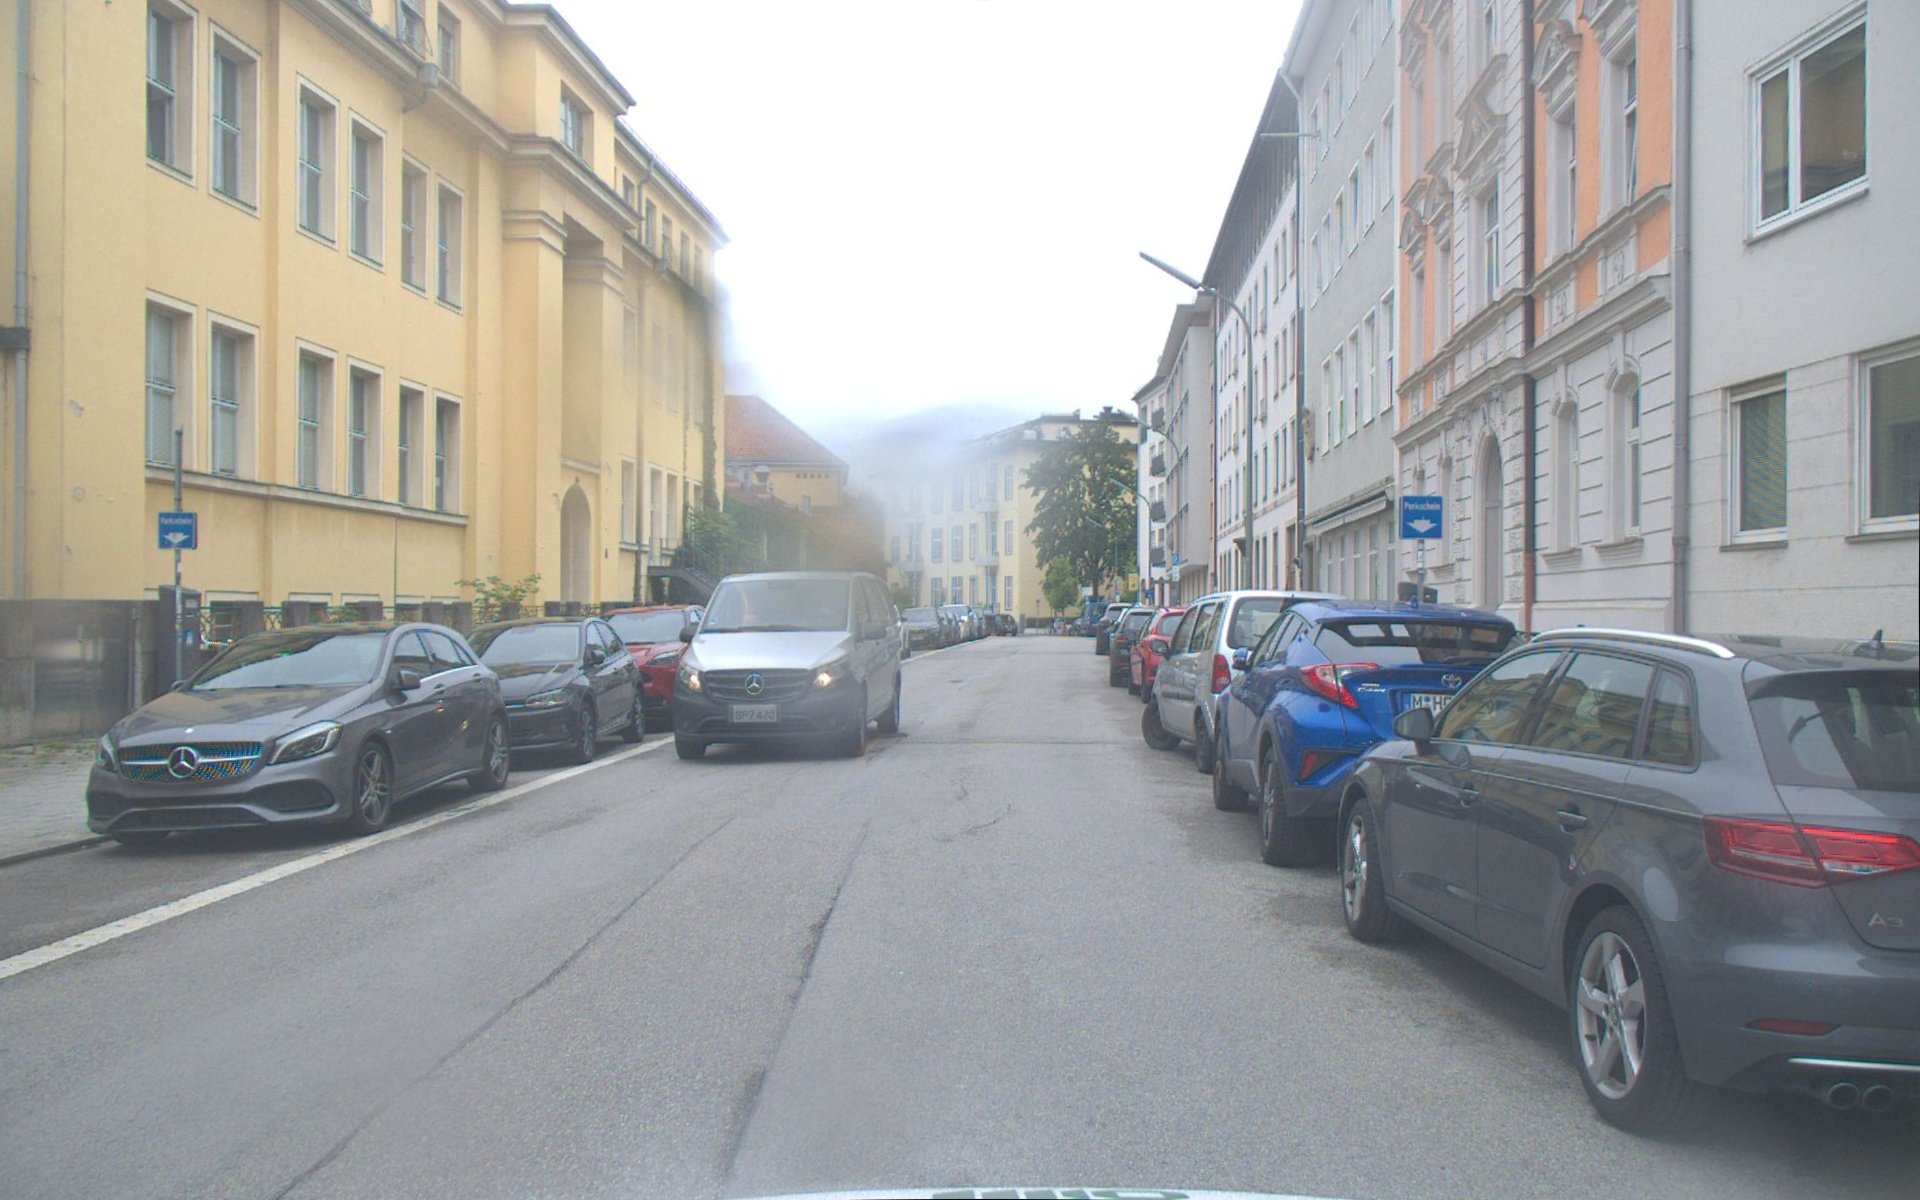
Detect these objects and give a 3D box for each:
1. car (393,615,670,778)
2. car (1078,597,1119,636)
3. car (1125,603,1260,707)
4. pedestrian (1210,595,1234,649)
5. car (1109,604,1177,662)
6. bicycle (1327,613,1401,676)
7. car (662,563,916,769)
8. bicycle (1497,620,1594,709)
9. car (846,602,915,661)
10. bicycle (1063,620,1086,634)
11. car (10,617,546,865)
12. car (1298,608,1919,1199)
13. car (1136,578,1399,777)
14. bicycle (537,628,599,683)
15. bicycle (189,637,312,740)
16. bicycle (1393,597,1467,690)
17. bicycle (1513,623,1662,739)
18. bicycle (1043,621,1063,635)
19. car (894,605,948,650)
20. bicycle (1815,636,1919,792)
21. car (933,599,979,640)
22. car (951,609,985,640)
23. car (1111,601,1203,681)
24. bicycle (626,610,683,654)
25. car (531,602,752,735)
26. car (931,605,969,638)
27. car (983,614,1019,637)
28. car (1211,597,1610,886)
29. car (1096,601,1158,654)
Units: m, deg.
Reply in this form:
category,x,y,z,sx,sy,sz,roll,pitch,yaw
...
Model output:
category,x,y,z,sx,sy,sz,roll,pitch,yaw
car,-4.373,0.918,17.568,1.714,1.429,4.355,-3,-1,0
car,9.210,1.119,110.386,2.037,2.273,5.241,4,-3,-2
car,3.724,0.835,27.086,1.652,1.526,4.147,2,0,1
pedestrian,8.713,0.740,55.064,0.707,1.794,0.905,0,-3,5
car,4.928,0.879,44.956,1.637,1.454,4.532,1,-1,4
bicycle,7.488,0.811,30.604,0.610,1.108,1.806,-1,0,38
car,-1.689,0.653,18.263,1.875,1.881,5.323,-2,-1,4
bicycle,7.324,0.790,20.763,0.583,1.042,1.817,-1,0,1
car,-2.396,0.950,50.764,1.709,1.662,4.857,-2,-1,1
bicycle,10.163,2.405,146.700,1.881,1.222,0.595,0,-1,18
car,-4.803,0.911,12.543,1.972,1.443,4.616,-3,-1,2
car,2.685,0.814,6.262,1.671,1.480,4.399,3,0,-3
car,2.898,0.690,16.353,1.648,1.703,3.801,2,0,-4
bicycle,-7.960,1.107,33.663,0.526,1.081,1.641,0,-1,14
bicycle,-8.926,1.085,20.893,0.524,1.206,2.107,0,-1,4
bicycle,7.498,0.672,26.454,0.583,1.409,2.092,-1,0,1
bicycle,6.590,0.818,17.485,0.708,1.132,1.993,0,0,-4
bicycle,8.325,2.505,148.028,1.893,1.222,0.592,0,-1,41
car,-1.470,1.067,64.364,1.752,1.614,4.819,-3,-1,2
bicycle,7.087,0.826,12.040,0.519,1.090,1.998,0,0,-6
car,-0.151,1.000,84.977,1.847,1.922,4.776,-3,-1,5
car,0.463,1.420,95.262,1.662,1.671,4.491,-3,-1,3
car,3.772,0.773,32.138,1.652,1.426,4.366,0,-1,5
bicycle,-9.152,0.950,49.536,1.591,1.290,0.527,-1,-1,5
car,-4.133,0.857,22.224,1.917,1.508,4.530,-3,-1,1
car,-0.472,1.046,79.526,1.558,1.466,4.020,-3,-1,2
car,3.632,2.279,147.391,1.735,1.907,4.357,4,-2,-18
car,2.735,0.760,11.059,1.705,1.520,4.550,0,0,4
car,5.243,0.845,52.119,1.801,1.549,4.711,1,-1,5
